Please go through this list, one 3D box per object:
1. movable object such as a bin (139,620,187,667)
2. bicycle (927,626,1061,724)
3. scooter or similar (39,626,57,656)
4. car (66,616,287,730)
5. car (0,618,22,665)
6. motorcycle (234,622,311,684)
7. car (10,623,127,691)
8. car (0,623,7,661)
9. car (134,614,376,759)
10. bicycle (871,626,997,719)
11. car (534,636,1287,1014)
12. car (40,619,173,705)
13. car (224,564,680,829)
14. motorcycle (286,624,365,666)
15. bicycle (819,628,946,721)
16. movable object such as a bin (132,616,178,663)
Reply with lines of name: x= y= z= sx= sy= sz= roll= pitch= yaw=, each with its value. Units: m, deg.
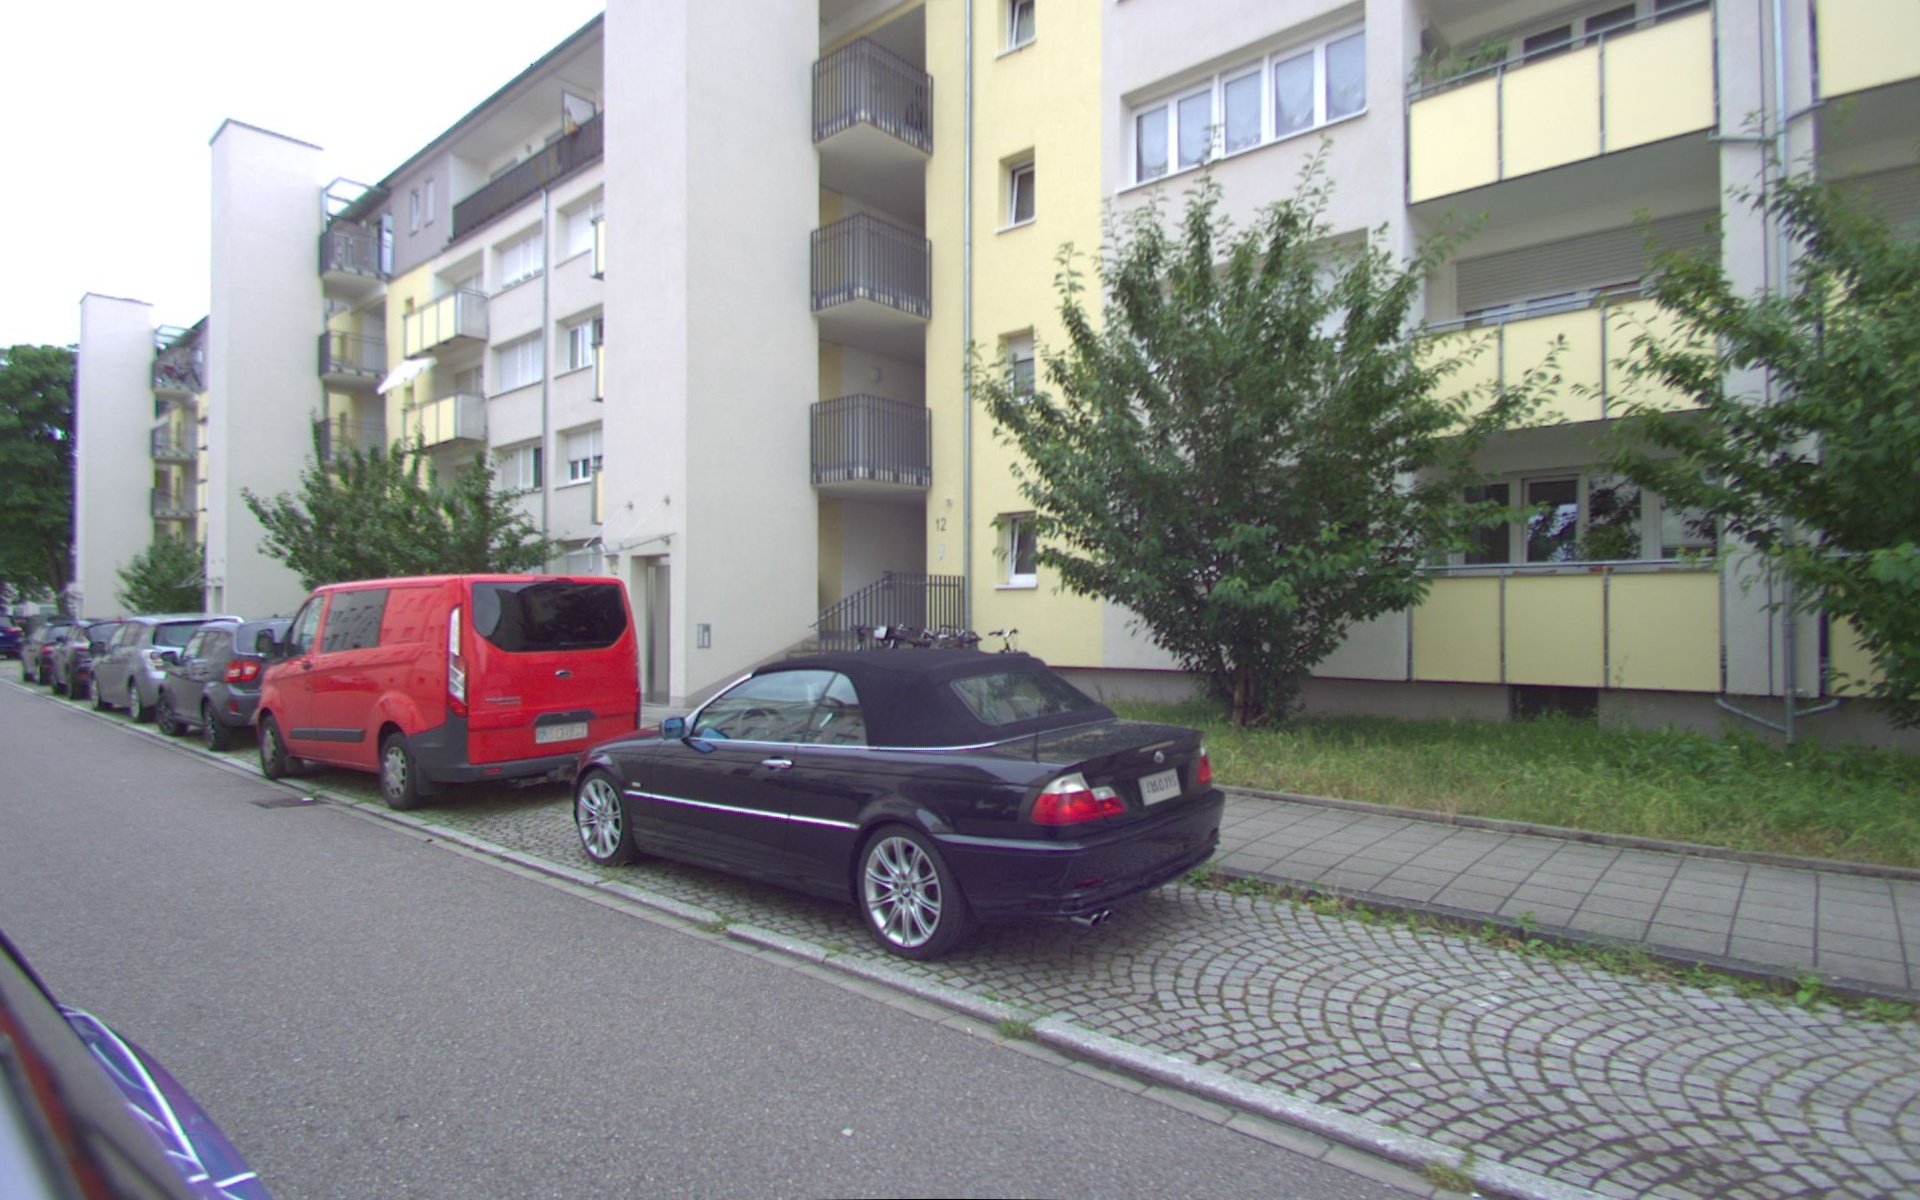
movable object such as a bin: x=-25.785 y=1.378 z=32.742 sx=1.314 sy=1.458 sz=0.991 roll=-1 pitch=-1 yaw=42
bicycle: x=0.452 y=0.909 z=12.815 sx=1.812 sy=1.127 sz=0.571 roll=0 pitch=-2 yaw=-43
scooter or similar: x=-38.840 y=1.756 z=43.098 sx=1.135 sy=1.253 sz=0.432 roll=-2 pitch=-2 yaw=41
car: x=-13.061 y=1.101 z=16.761 sx=4.856 sy=1.582 sz=1.817 roll=-1 pitch=0 yaw=39
car: x=-35.288 y=1.491 z=36.437 sx=4.470 sy=1.639 sz=1.781 roll=-1 pitch=-1 yaw=41
motorcycle: x=-15.696 y=1.174 z=23.084 sx=2.419 sy=1.317 sz=0.860 roll=-2 pitch=0 yaw=41
car: x=-21.630 y=1.320 z=24.510 sx=3.855 sy=1.449 sz=1.626 roll=-1 pitch=0 yaw=41
car: x=-39.606 y=1.697 z=40.453 sx=3.813 sy=1.456 sz=1.605 roll=-1 pitch=-1 yaw=38
car: x=-9.443 y=1.017 z=13.435 sx=4.052 sy=1.582 sz=1.703 roll=-1 pitch=0 yaw=41
bicycle: x=-0.316 y=0.924 z=13.418 sx=0.570 sy=1.127 sz=1.814 roll=-2 pitch=-1 yaw=42
car: x=-0.548 y=0.937 z=5.994 sx=4.358 sy=1.333 sz=1.851 roll=-1 pitch=0 yaw=40
car: x=-17.506 y=1.192 z=20.709 sx=3.895 sy=1.542 sz=1.635 roll=-1 pitch=0 yaw=43
car: x=-5.130 y=0.737 z=9.902 sx=4.916 sy=1.968 sz=2.130 roll=-1 pitch=0 yaw=39
motorcycle: x=-17.608 y=1.248 z=28.107 sx=0.593 sy=1.138 sz=1.732 roll=-1 pitch=-3 yaw=37
bicycle: x=-1.014 y=0.958 z=13.636 sx=0.604 sy=1.127 sz=1.816 roll=-1 pitch=-1 yaw=39
movable object such as a bin: x=-26.826 y=1.297 z=33.706 sx=1.314 sy=1.512 sz=0.991 roll=-1 pitch=-1 yaw=42
